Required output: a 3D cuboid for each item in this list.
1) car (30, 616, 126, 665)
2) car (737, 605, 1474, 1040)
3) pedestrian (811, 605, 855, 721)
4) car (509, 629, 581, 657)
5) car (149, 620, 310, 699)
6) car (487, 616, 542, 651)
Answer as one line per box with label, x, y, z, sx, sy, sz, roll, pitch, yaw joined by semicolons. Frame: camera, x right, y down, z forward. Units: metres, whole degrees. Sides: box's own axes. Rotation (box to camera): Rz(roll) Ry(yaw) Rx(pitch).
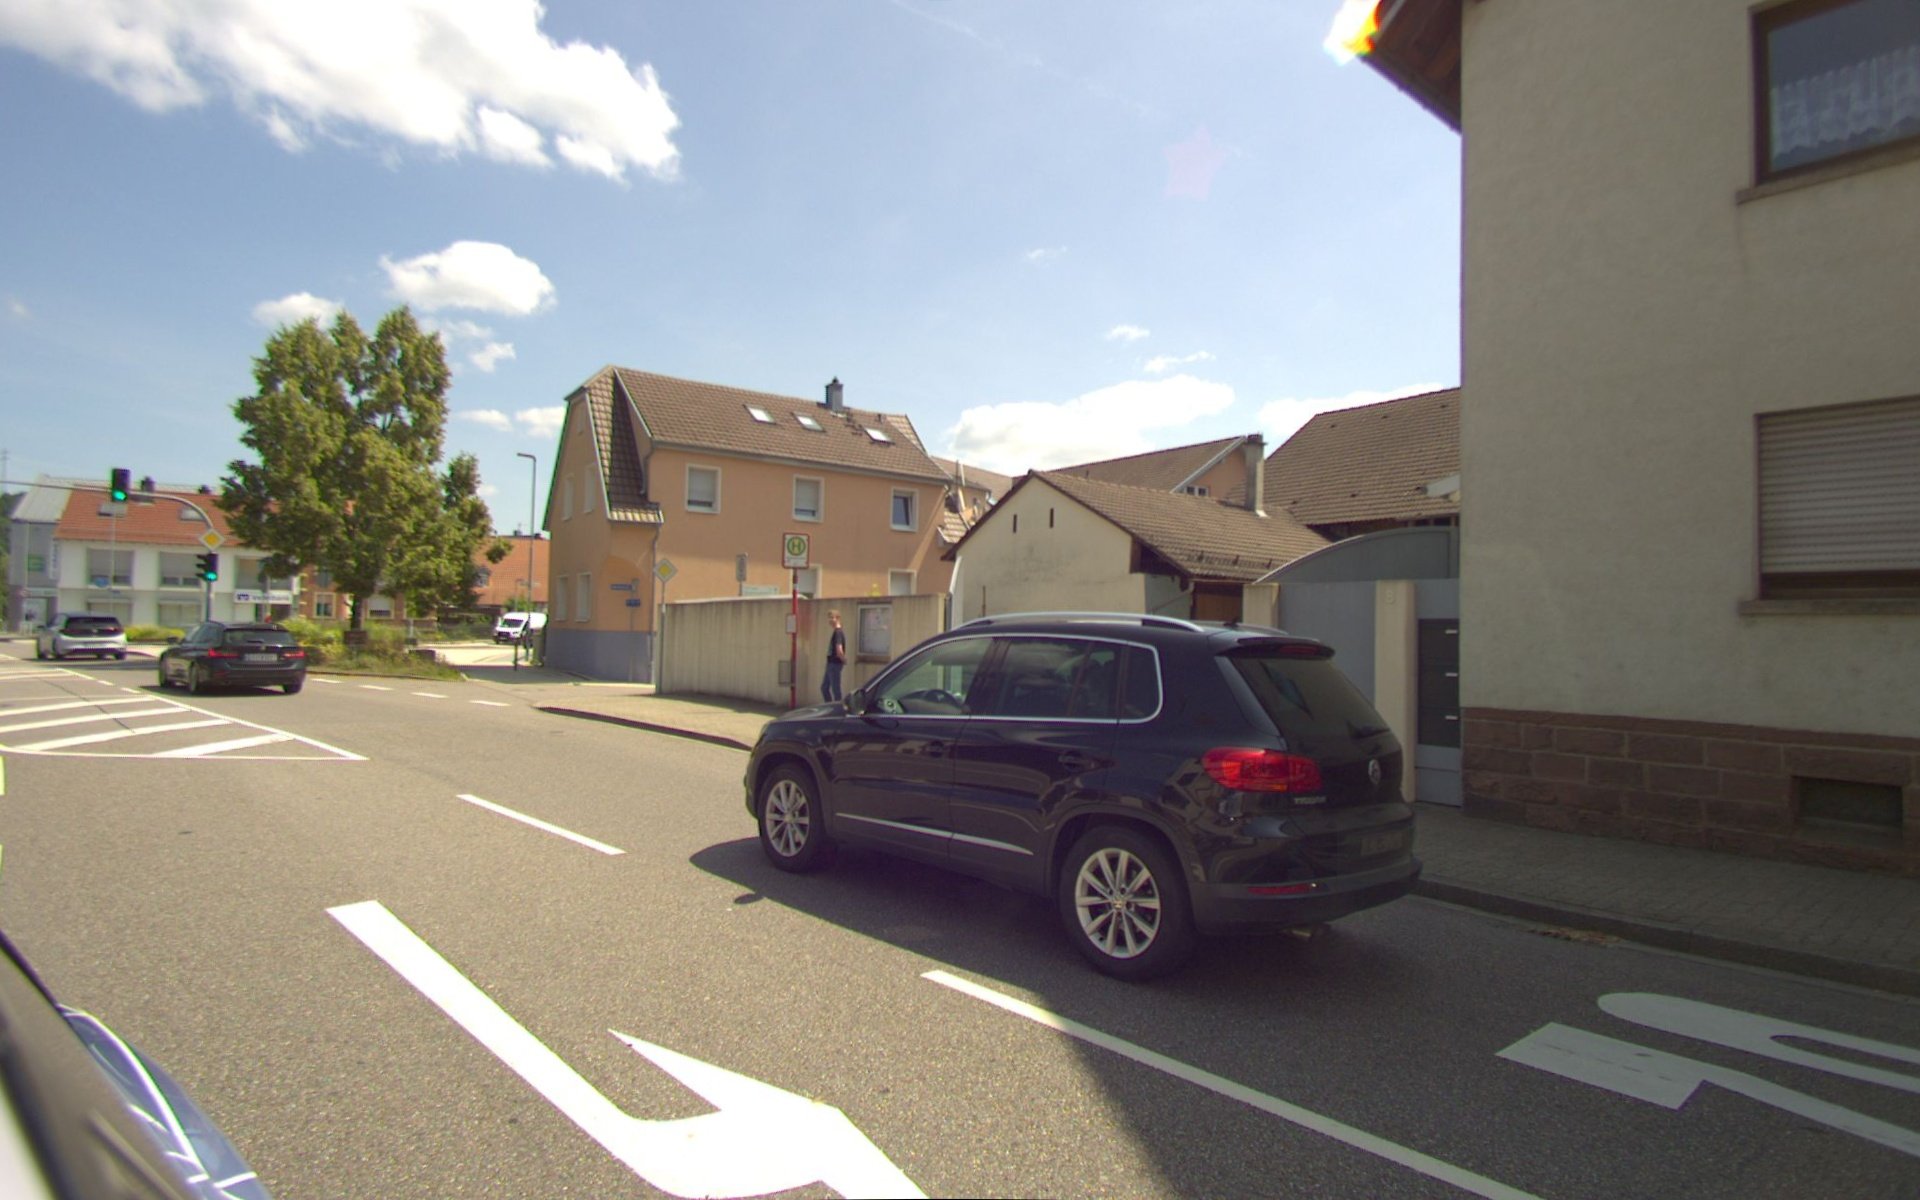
car;-28.426;1.267;32.569;4.530;1.467;1.761;-1;-3;42
car;0.542;0.891;5.856;1.727;1.623;4.003;3;-3;-44
pedestrian;-1.982;0.980;15.838;0.476;1.777;0.467;0;-2;27
car;-27.128;2.772;66.270;1.995;1.663;3.954;-1;0;34
car;-15.245;1.168;21.041;4.530;1.467;1.761;-1;-3;42
car;-34.334;2.548;78.145;1.972;2.464;5.209;-1;0;0
